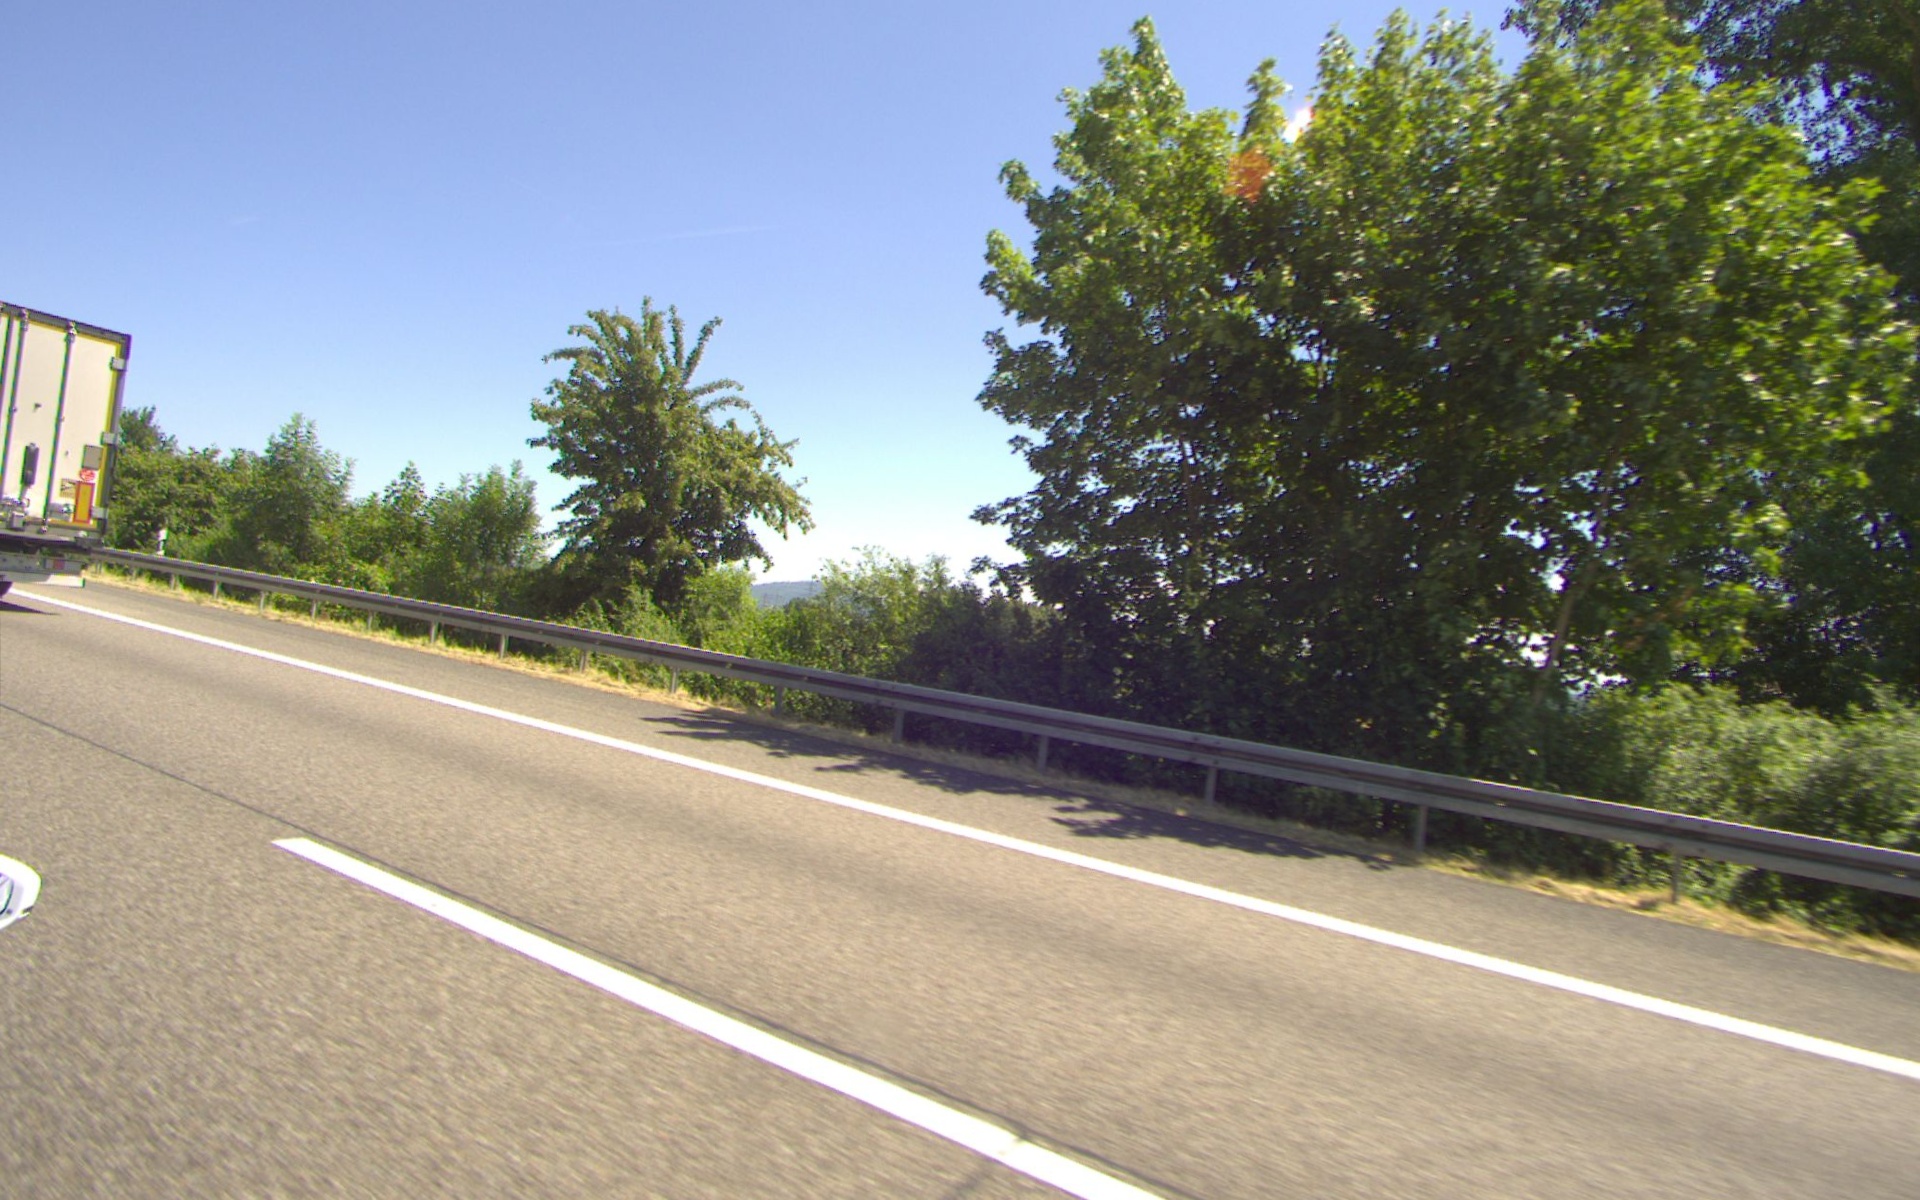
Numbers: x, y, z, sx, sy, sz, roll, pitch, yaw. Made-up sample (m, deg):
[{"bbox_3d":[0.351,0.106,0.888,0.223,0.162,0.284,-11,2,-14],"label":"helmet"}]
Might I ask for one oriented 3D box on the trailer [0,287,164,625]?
[{"bbox_3d":[-17.447,-2.429,15.997,12.322,4.154,2.965,6,-1,31],"label":"trailer"}]
